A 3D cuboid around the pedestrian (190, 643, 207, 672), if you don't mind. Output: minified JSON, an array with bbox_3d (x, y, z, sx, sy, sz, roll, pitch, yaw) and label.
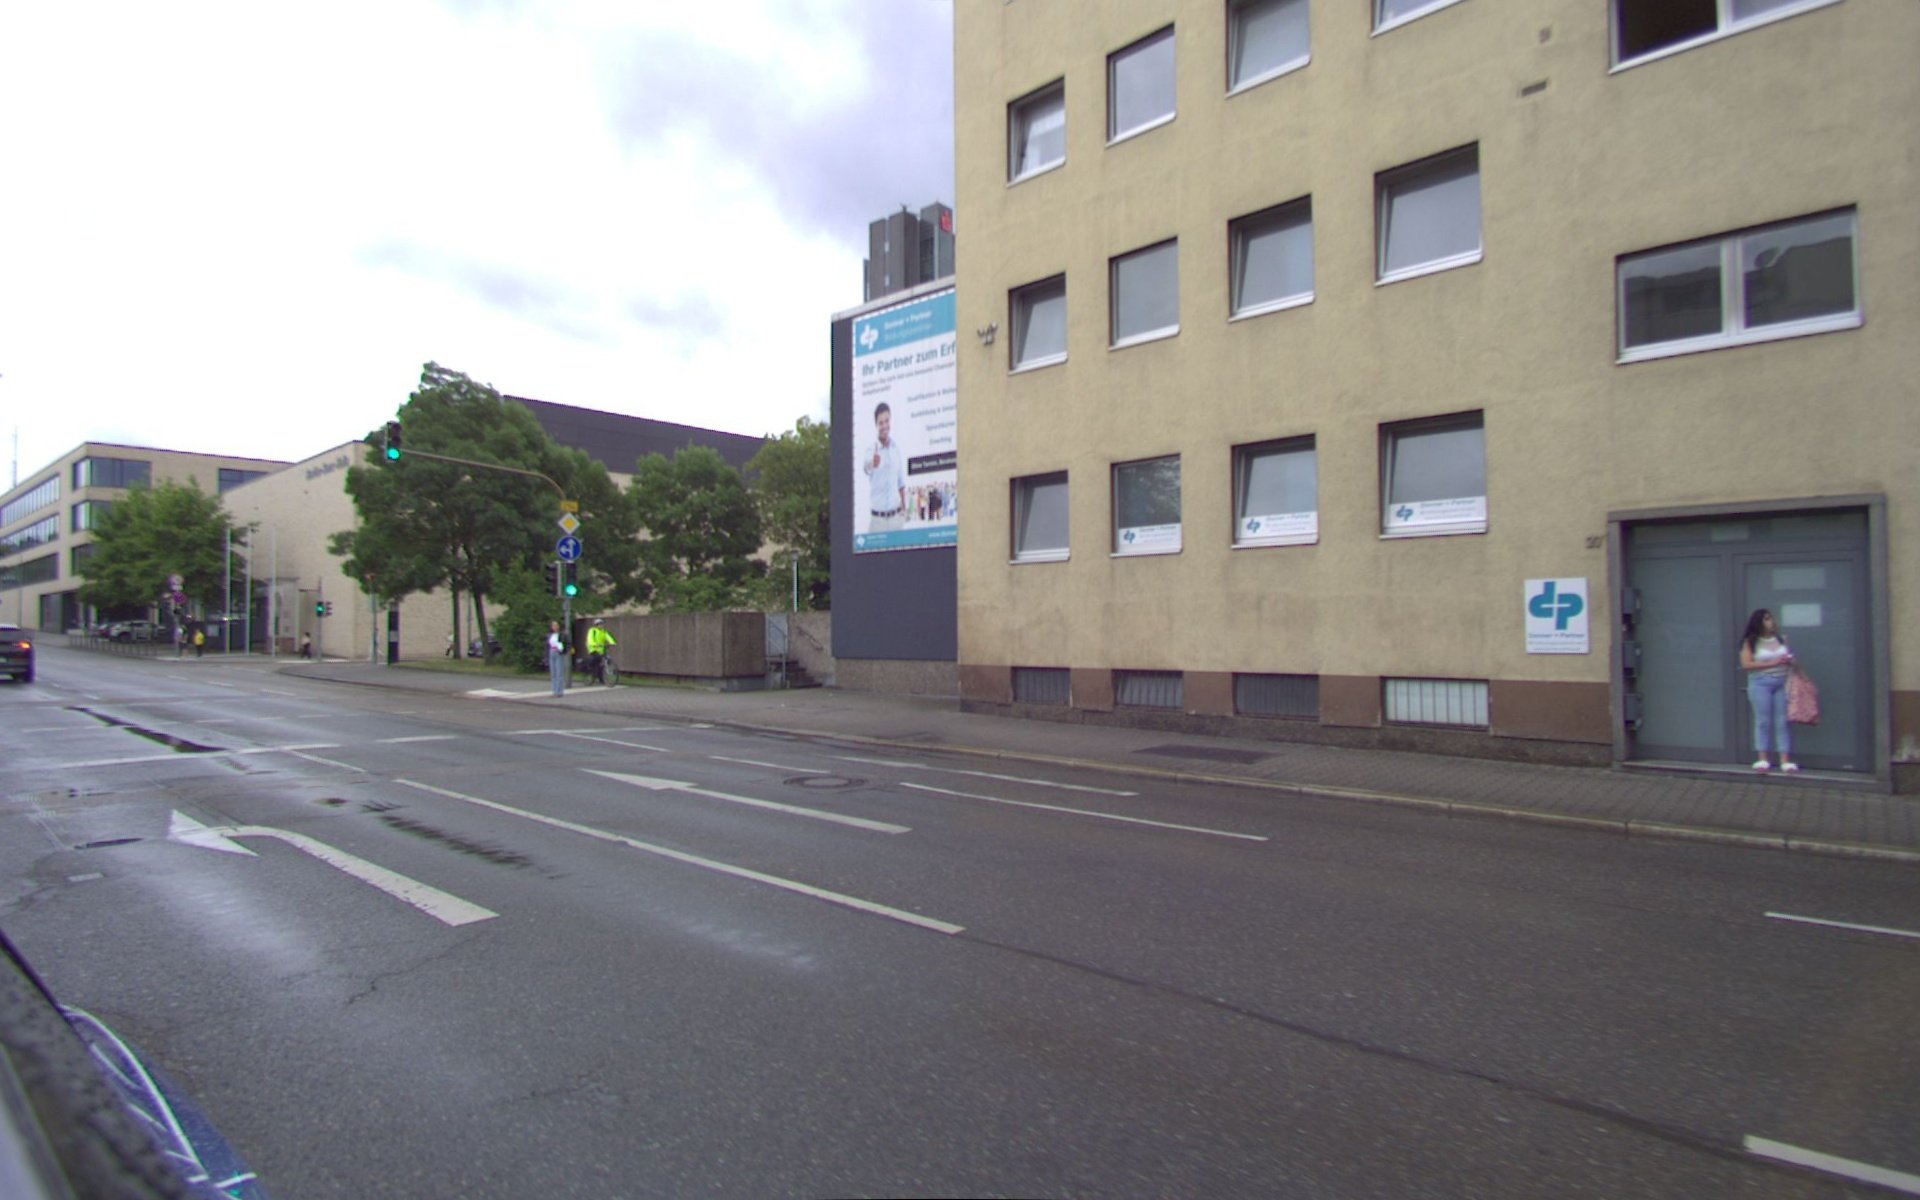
[{"bbox_3d":[-40.843,3.092,54.301,0.692,1.528,0.588,-2,-1,41],"label":"pedestrian"}]

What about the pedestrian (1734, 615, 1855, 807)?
[{"bbox_3d":[7.917,1.003,9.602,0.811,1.702,0.709,-2,-1,43],"label":"pedestrian"}]

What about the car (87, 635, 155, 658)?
[{"bbox_3d":[-65.116,3.599,78.552,3.941,1.597,2.001,-1,-1,-45],"label":"car"}]

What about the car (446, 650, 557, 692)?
[{"bbox_3d":[-23.436,3.656,51.918,1.998,1.940,4.730,-2,-6,39],"label":"car"}]

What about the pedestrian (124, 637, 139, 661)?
[{"bbox_3d":[-60.832,3.582,74.291,0.792,1.660,0.977,-1,-1,-42],"label":"pedestrian"}]

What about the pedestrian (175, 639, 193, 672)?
[{"bbox_3d":[-41.951,2.968,54.712,0.691,1.744,0.588,-2,-1,37],"label":"pedestrian"}]

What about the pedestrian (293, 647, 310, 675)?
[{"bbox_3d":[-34.205,3.153,52.566,0.475,1.386,0.614,-2,-1,42],"label":"pedestrian"}]

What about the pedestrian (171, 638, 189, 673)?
[{"bbox_3d":[-40.471,2.885,52.503,0.692,1.785,0.588,-2,-1,41],"label":"pedestrian"}]

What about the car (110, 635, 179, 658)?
[{"bbox_3d":[-62.696,3.544,77.822,3.941,1.597,2.001,-1,-1,-45],"label":"car"}]

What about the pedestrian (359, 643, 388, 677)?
[{"bbox_3d":[-30.962,3.150,53.395,0.807,1.713,1.099,-2,-1,39],"label":"pedestrian"}]

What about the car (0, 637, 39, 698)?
[{"bbox_3d":[-26.910,1.829,27.948,4.295,1.606,1.788,-2,-3,43],"label":"car"}]

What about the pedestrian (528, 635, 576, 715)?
[{"bbox_3d":[-9.125,1.655,22.633,0.811,1.702,0.709,-2,-1,43],"label":"pedestrian"}]

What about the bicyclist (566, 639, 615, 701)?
[{"bbox_3d":[-9.120,1.708,24.984,0.813,1.453,0.833,-2,-1,43],"label":"bicyclist"}]

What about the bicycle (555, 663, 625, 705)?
[{"bbox_3d":[-9.152,2.055,25.006,1.867,0.914,0.875,-2,-1,44],"label":"bicycle"}]
